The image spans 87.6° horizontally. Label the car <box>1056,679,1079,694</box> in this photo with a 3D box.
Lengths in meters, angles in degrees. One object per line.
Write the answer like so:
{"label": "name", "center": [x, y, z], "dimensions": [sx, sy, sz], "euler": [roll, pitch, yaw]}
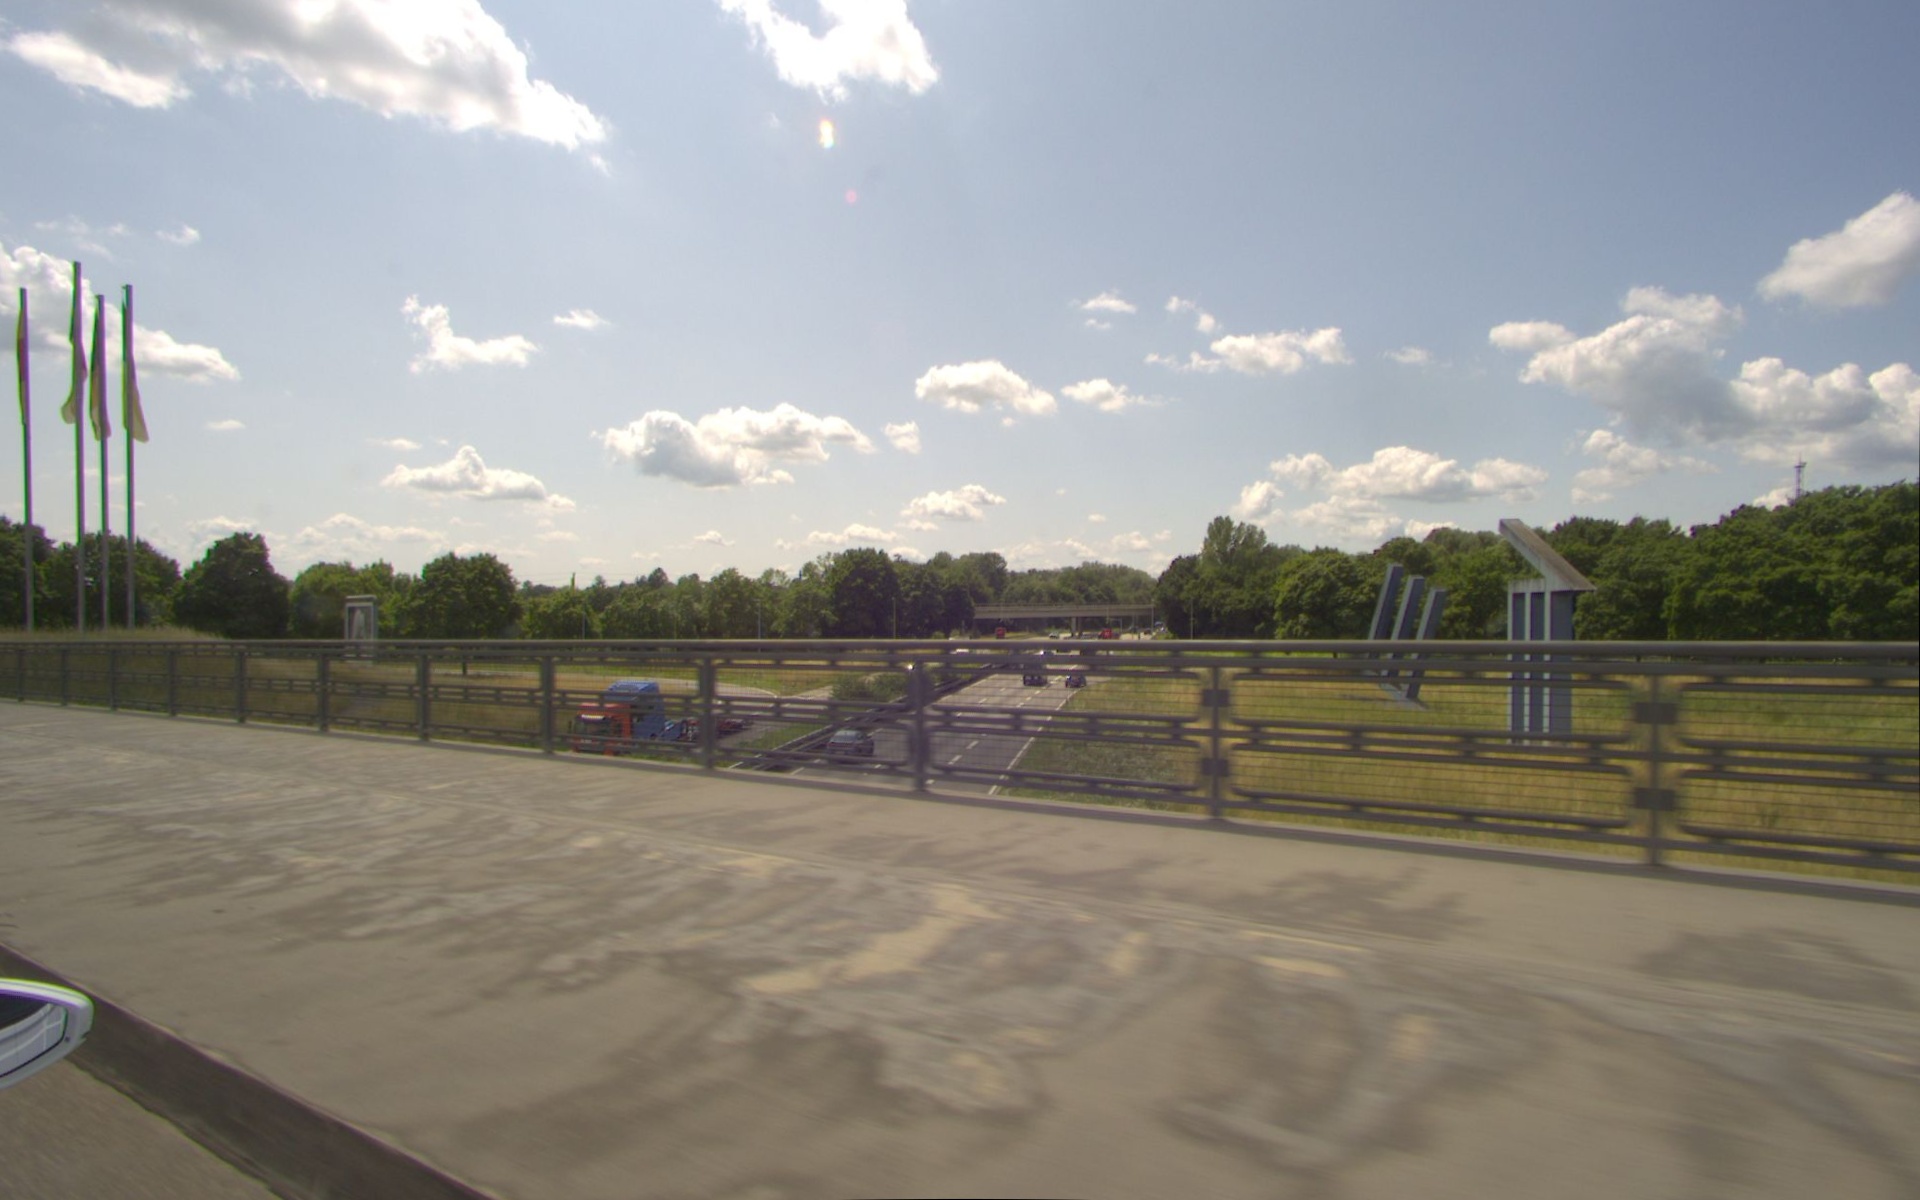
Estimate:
{"label": "car", "center": [11.083, 8.931, 103.111], "dimensions": [1.962, 1.304, 4.000], "euler": [1, -2, 11]}

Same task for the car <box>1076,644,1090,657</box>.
{"label": "car", "center": [19.293, 7.895, 156.768], "dimensions": [1.962, 2.039, 4.000], "euler": [1, -2, 9]}

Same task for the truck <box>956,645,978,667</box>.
{"label": "truck", "center": [0.932, 7.282, 132.042], "dimensions": [1.962, 2.736, 6.619], "euler": [1, -2, 9]}

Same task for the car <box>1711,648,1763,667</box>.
{"label": "car", "center": [83.280, 6.197, 107.416], "dimensions": [1.967, 1.905, 3.990], "euler": [2, -2, -21]}

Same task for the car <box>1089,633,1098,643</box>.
{"label": "car", "center": [28.589, 8.065, 214.494], "dimensions": [1.962, 2.039, 4.000], "euler": [1, -2, 9]}

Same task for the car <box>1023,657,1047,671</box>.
{"label": "car", "center": [7.811, 6.624, 104.364], "dimensions": [1.962, 1.304, 4.000], "euler": [1, -2, 11]}

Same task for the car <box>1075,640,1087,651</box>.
{"label": "car", "center": [22.594, 8.507, 186.643], "dimensions": [1.962, 2.039, 4.000], "euler": [1, -2, 9]}

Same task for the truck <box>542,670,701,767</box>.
{"label": "truck", "center": [-18.371, 6.305, 55.349], "dimensions": [3.941, 4.459, 9.630], "euler": [1, -2, 12]}

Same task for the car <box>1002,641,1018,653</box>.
{"label": "car", "center": [7.991, 7.525, 160.493], "dimensions": [1.962, 1.765, 4.000], "euler": [1, -2, 11]}

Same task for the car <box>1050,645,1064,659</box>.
{"label": "car", "center": [15.637, 8.365, 161.601], "dimensions": [1.962, 2.039, 4.000], "euler": [1, -2, 9]}
